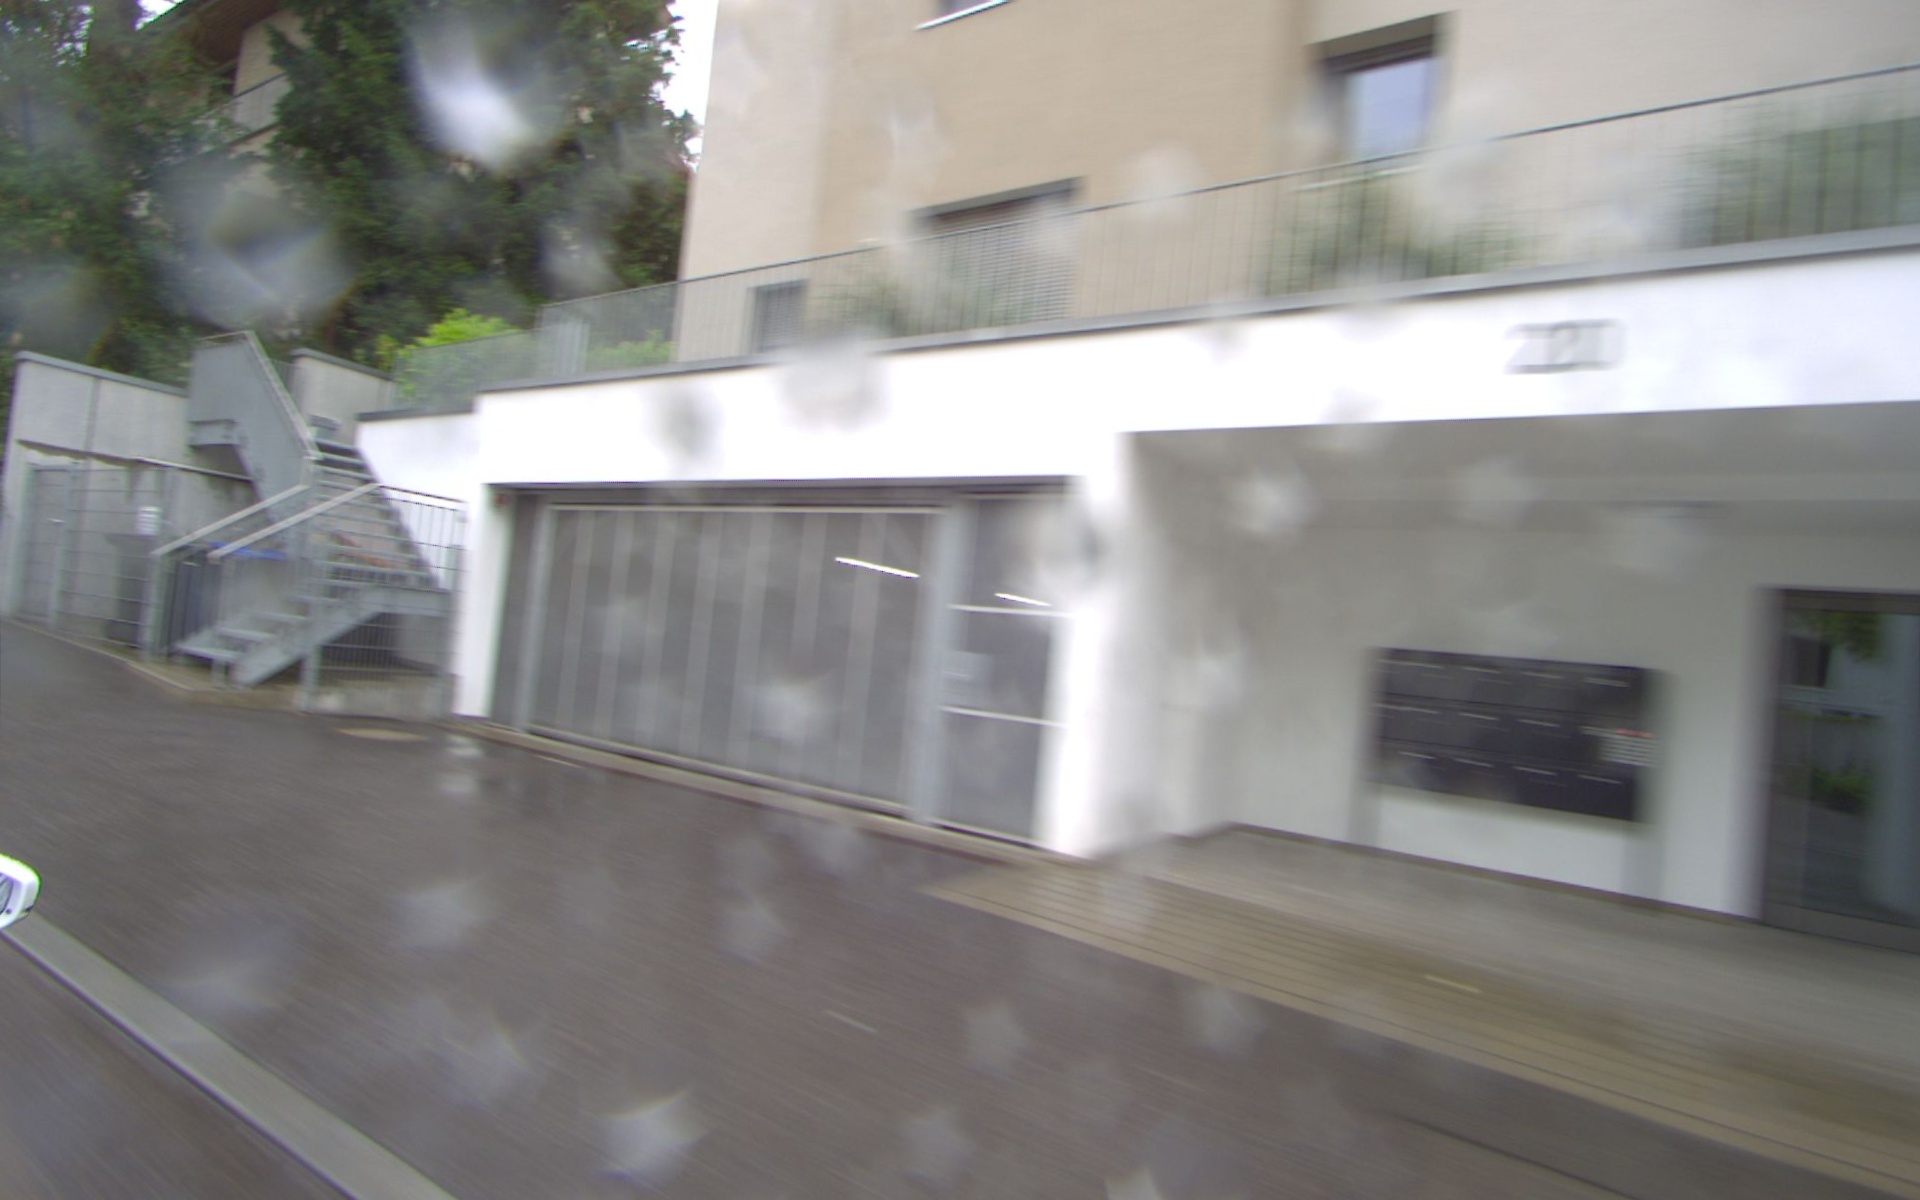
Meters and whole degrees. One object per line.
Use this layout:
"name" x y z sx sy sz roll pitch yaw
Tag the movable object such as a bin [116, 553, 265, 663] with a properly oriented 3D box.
"movable object such as a bin" -7.611 0.089 9.974 0.733 0.952 0.876 7 -1 29
